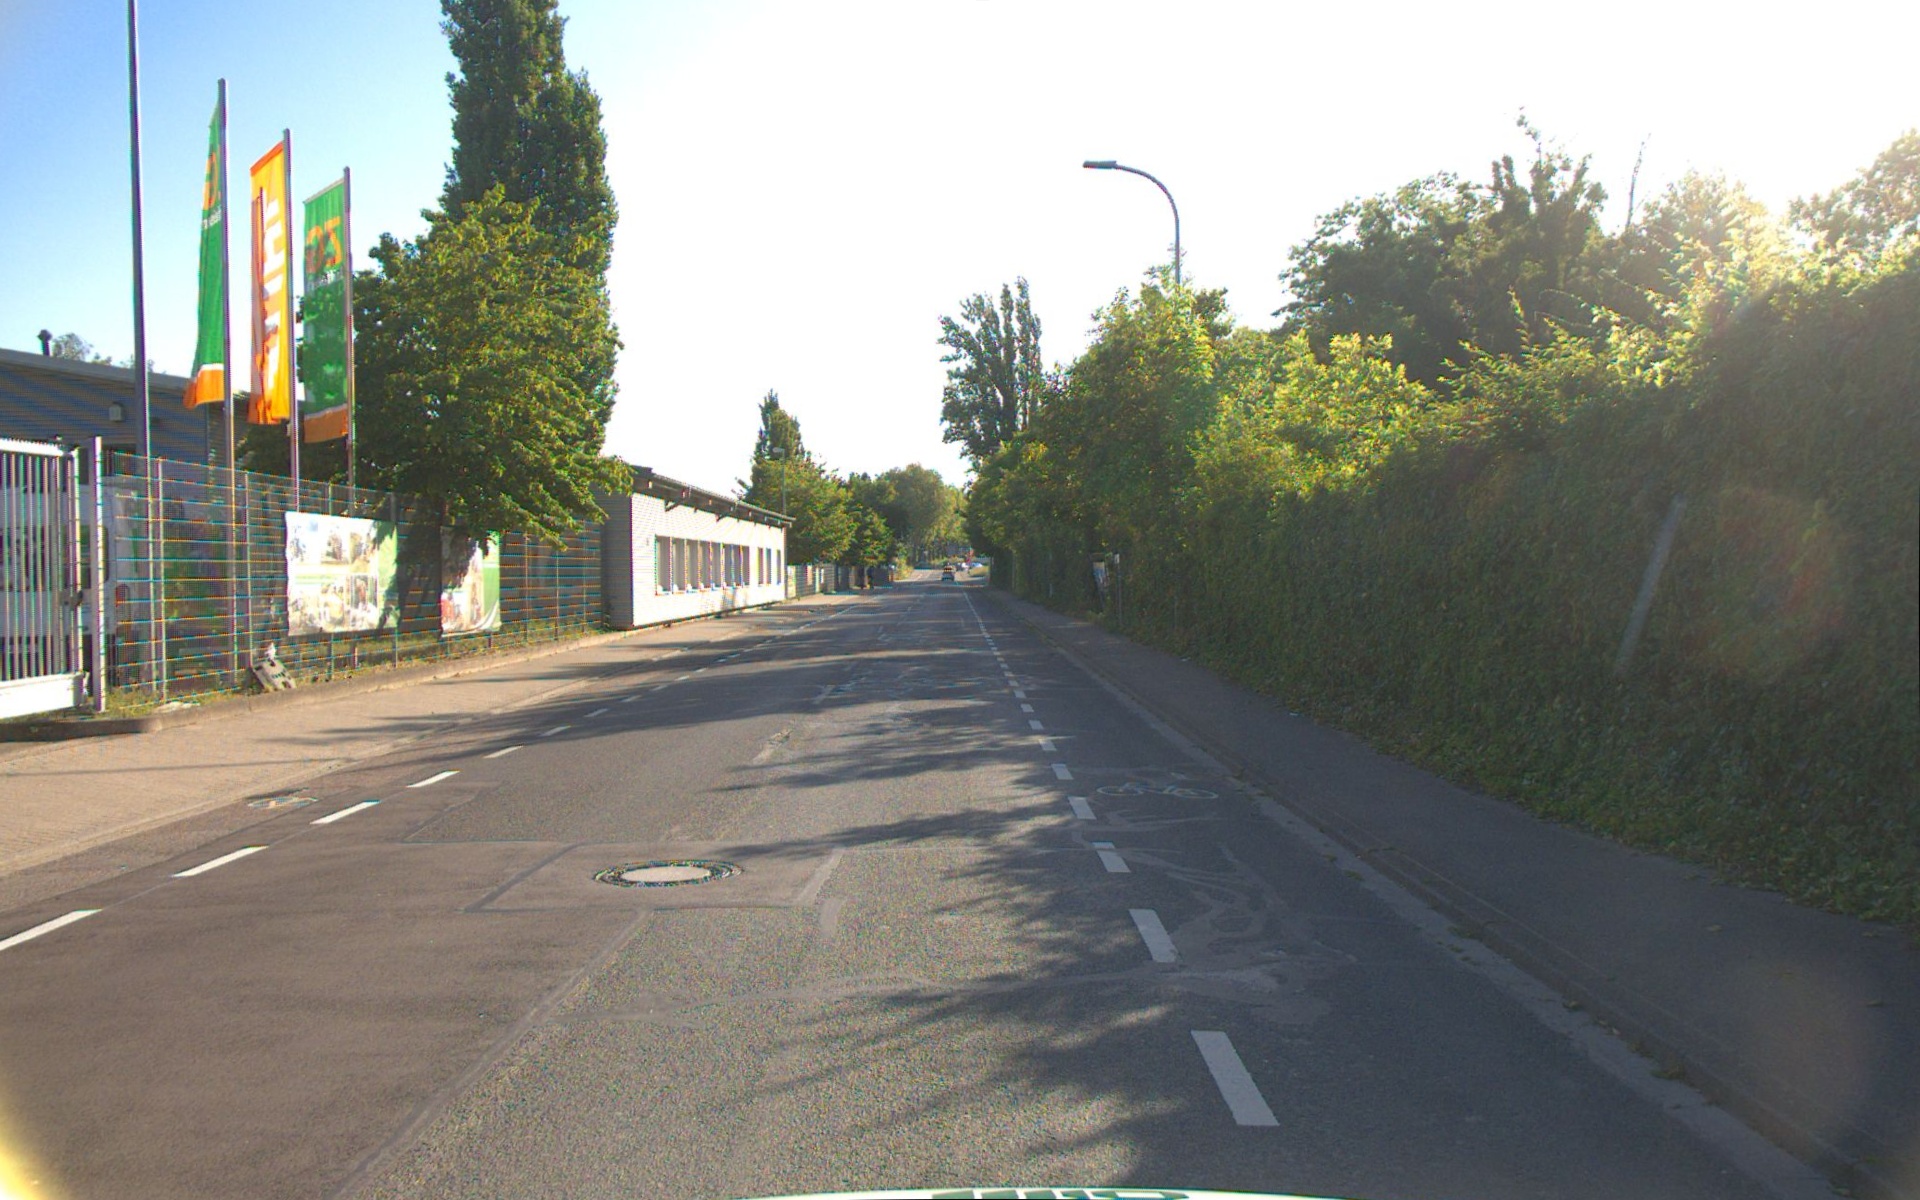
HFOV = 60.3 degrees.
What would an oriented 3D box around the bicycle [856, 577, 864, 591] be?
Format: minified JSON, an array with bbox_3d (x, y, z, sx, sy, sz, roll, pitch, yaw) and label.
[{"bbox_3d":[-7.649,-1.241,126.144,0.551,1.052,1.351,1,1,0],"label":"bicycle"}]

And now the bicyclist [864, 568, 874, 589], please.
[{"bbox_3d":[-6.912,-1.625,125.396,0.675,1.558,0.722,1,1,-1],"label":"bicyclist"}]

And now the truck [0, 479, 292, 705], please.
[{"bbox_3d":[-11.775,-0.150,23.747,2.036,2.809,5.764,-1,1,-1],"label":"truck"}]

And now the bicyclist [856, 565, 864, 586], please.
[{"bbox_3d":[-7.649,-1.858,126.059,0.548,1.560,0.689,1,1,-1],"label":"bicyclist"}]

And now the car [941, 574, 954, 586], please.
[{"bbox_3d":[-1.772,-2.804,233.916,1.902,1.679,4.309,1,1,0],"label":"car"}]

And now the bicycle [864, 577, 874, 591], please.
[{"bbox_3d":[-6.918,-1.199,125.428,0.675,1.052,1.351,1,1,0],"label":"bicycle"}]
